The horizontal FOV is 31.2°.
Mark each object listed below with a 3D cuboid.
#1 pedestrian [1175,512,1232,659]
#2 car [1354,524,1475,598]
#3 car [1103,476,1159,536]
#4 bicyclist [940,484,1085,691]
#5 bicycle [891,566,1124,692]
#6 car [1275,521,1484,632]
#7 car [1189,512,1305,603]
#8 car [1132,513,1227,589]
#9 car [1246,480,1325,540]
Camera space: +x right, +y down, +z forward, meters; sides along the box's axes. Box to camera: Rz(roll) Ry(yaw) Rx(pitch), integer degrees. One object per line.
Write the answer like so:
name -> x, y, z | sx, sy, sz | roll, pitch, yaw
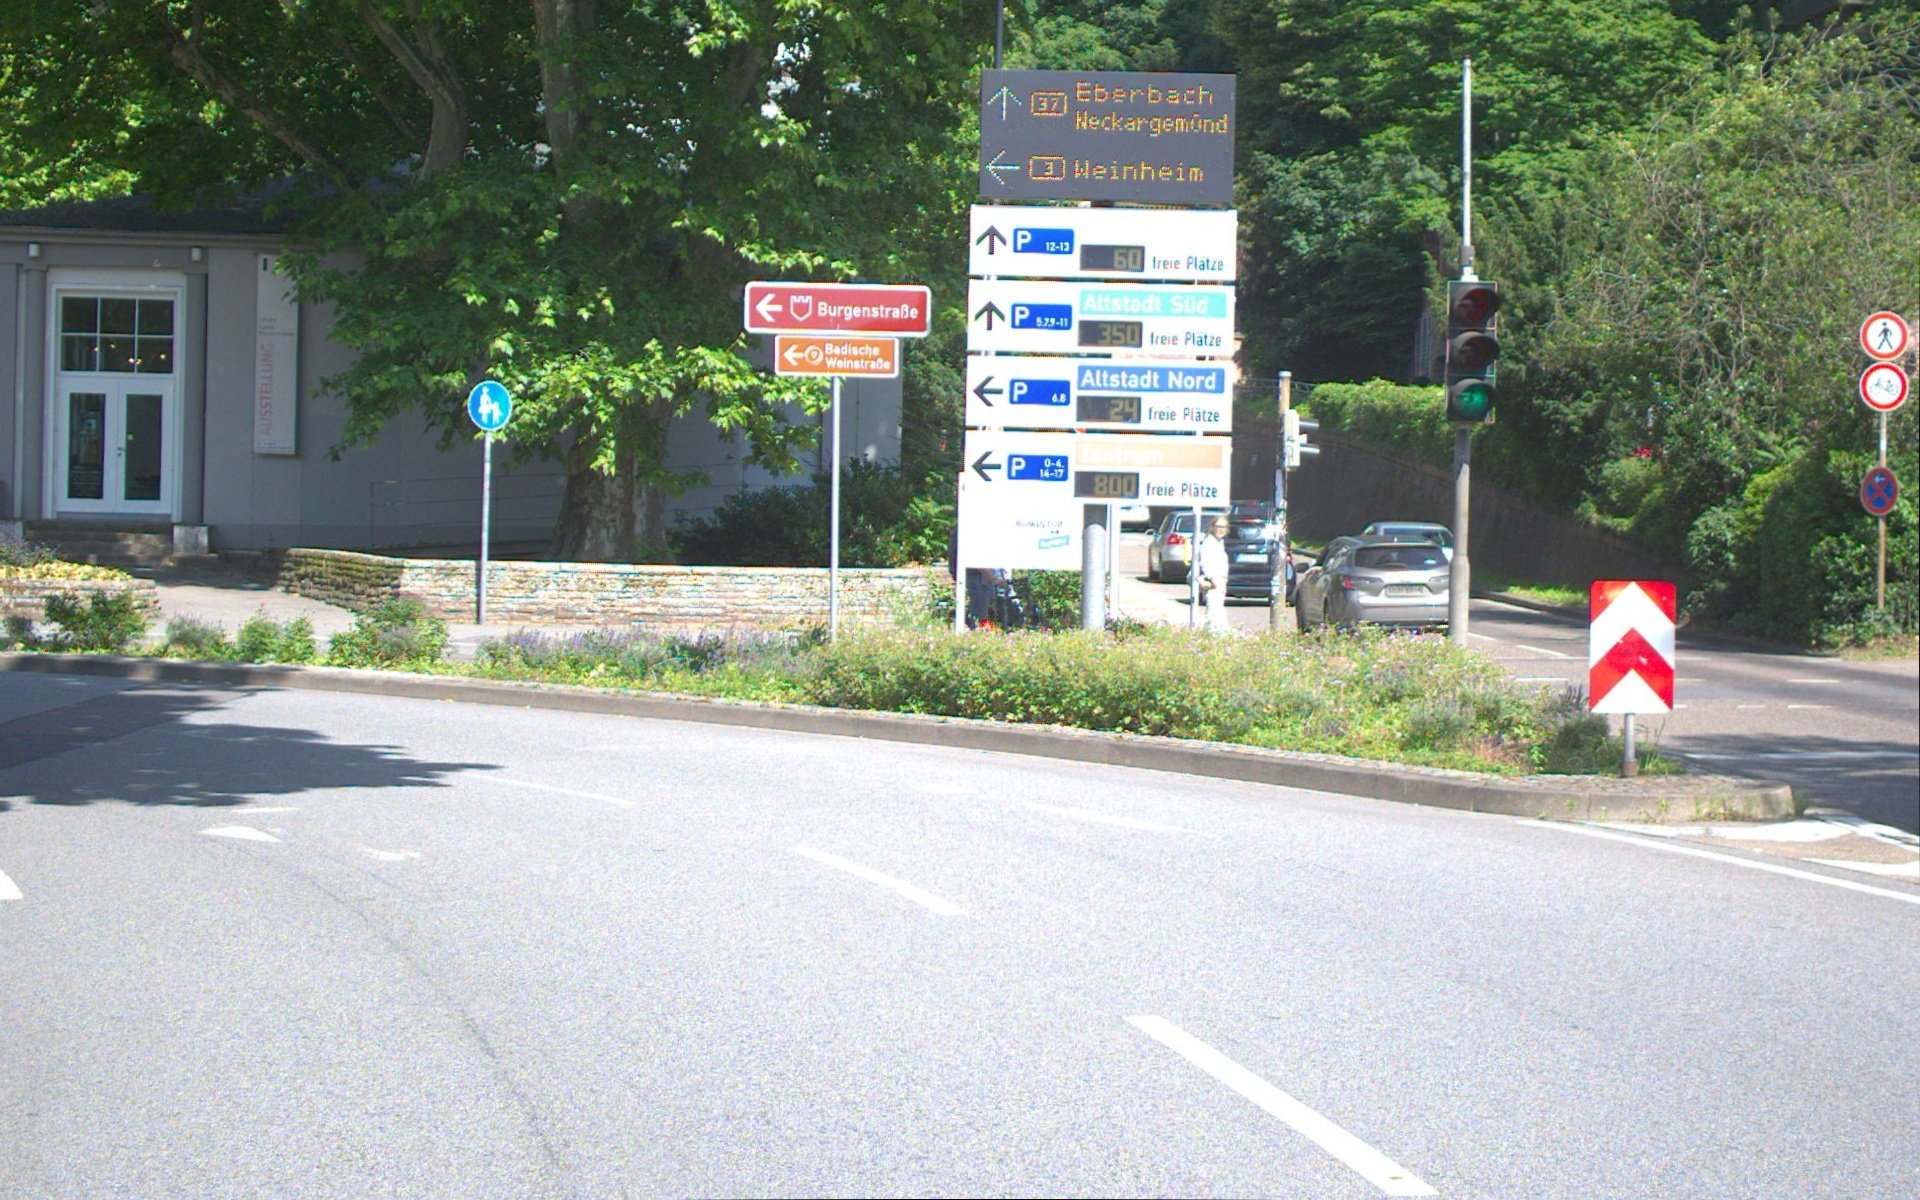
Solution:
pedestrian -> 2.728, -0.170, 38.459 | 0.547, 1.615, 0.634 | 1, 2, 11
car -> 8.133, -0.719, 61.708 | 1.756, 1.209, 3.494 | 2, 2, 1
car -> 5.743, -3.165, 115.758 | 1.756, 1.931, 3.494 | 2, 2, 1
bicyclist -> 0.502, -0.127, 32.820 | 1.127, 1.926, 0.747 | 2, 1, 27
bicycle -> 0.452, 0.265, 32.862 | 2.079, 1.109, 0.756 | 2, 2, 27
car -> 5.476, -0.335, 45.319 | 1.756, 1.329, 3.803 | 1, 2, -8
car -> 4.918, -0.755, 59.352 | 1.756, 1.456, 3.494 | 2, 2, 1
car -> 4.438, -1.014, 69.961 | 1.756, 1.456, 3.646 | 2, 2, 1
car -> 8.409, -2.333, 89.099 | 1.756, 1.456, 3.646 | 2, 2, 1
